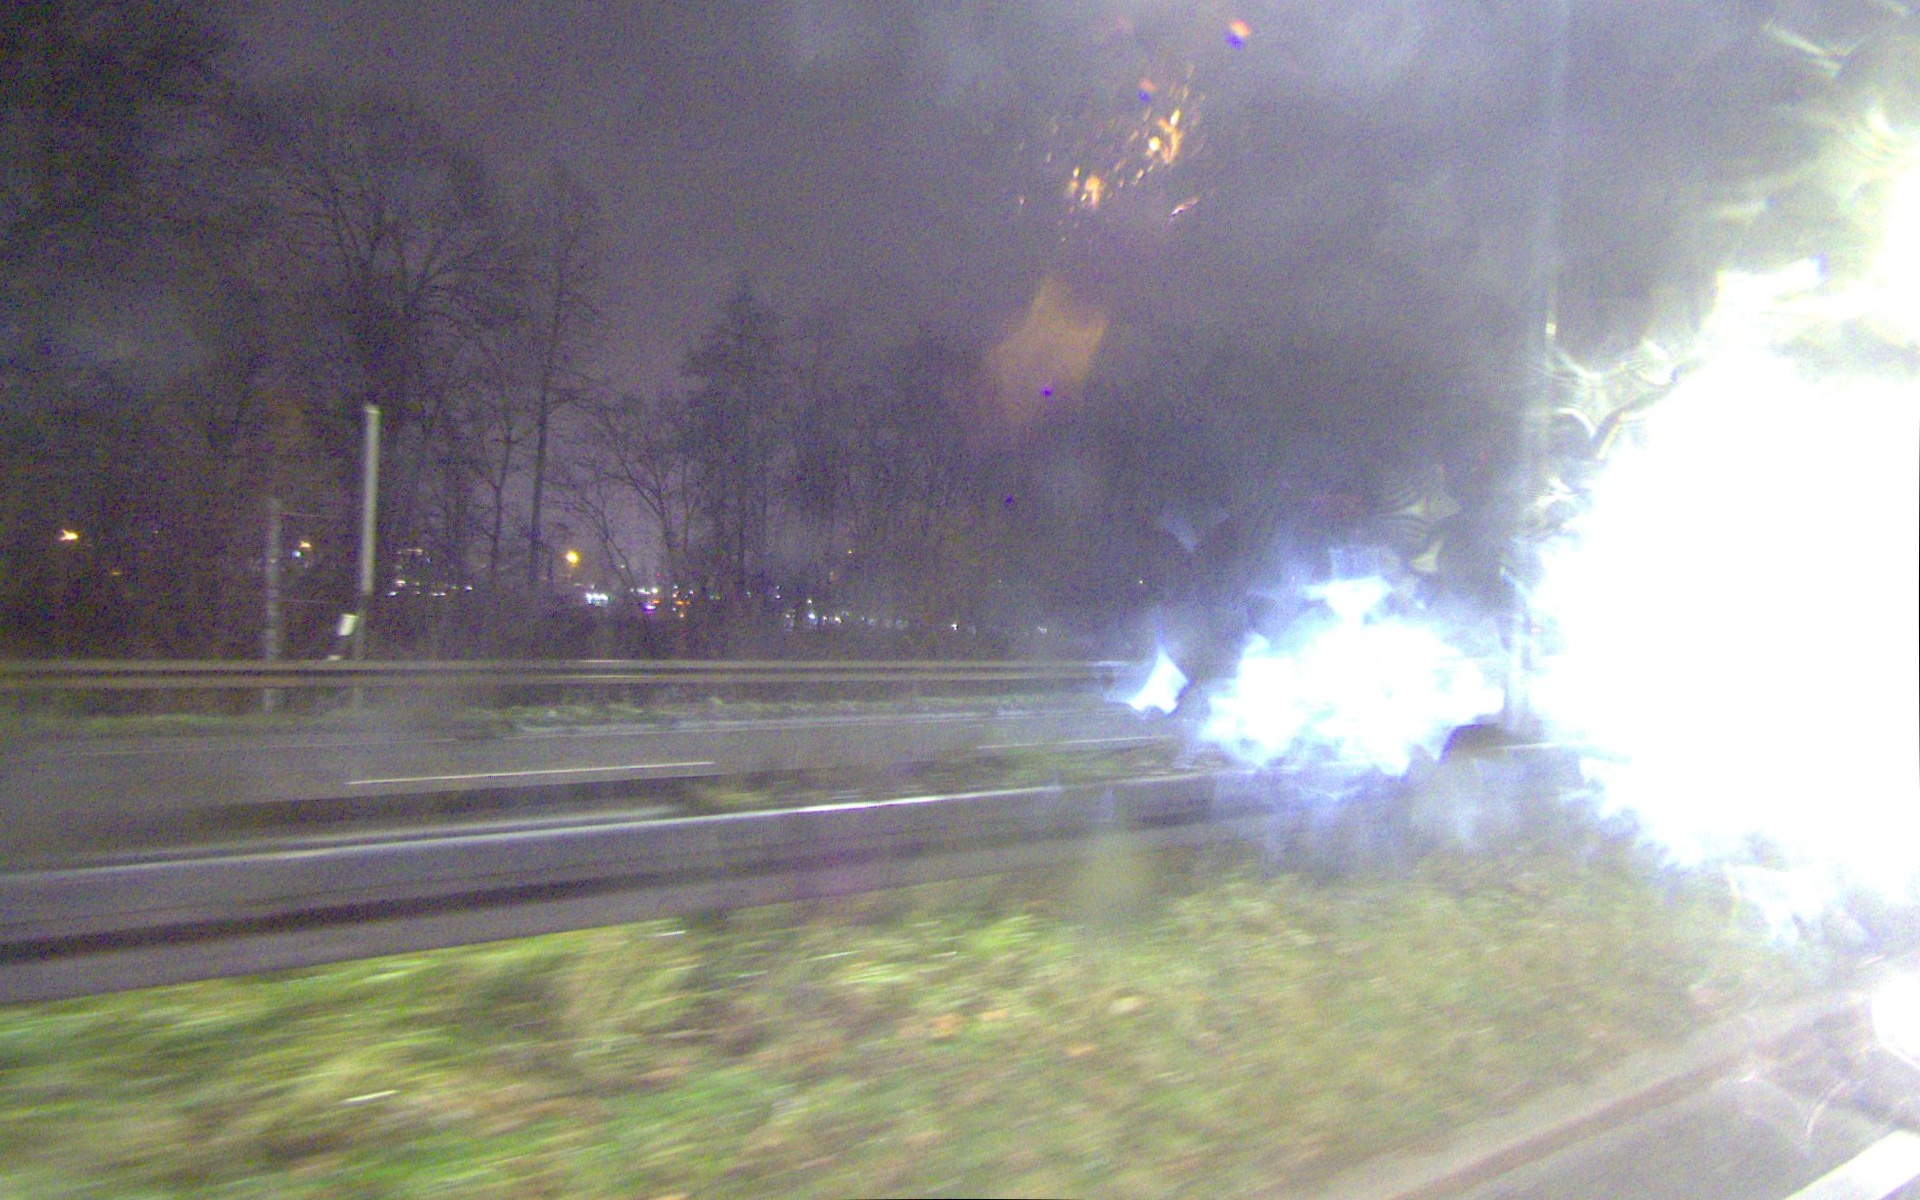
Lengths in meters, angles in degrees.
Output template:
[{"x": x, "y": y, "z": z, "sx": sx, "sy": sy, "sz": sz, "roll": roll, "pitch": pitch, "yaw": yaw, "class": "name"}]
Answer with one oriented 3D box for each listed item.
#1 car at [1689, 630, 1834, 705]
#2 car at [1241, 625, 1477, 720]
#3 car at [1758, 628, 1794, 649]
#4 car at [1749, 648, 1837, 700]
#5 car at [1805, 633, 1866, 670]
[{"x": 19.607, "y": 1.627, "z": 24.531, "sx": 4.211, "sy": 1.629, "sz": 1.855, "roll": 3, "pitch": -2, "yaw": -38, "class": "car"}, {"x": 7.163, "y": 1.241, "z": 17.819, "sx": 4.623, "sy": 1.442, "sz": 1.700, "roll": 3, "pitch": -1, "yaw": -36, "class": "car"}, {"x": 65.047, "y": 3.071, "z": 80.148, "sx": 1.716, "sy": 1.522, "sz": 3.991, "roll": 1, "pitch": -1, "yaw": 32, "class": "car"}, {"x": 29.864, "y": 2.603, "z": 35.975, "sx": 4.217, "sy": 1.653, "sz": 1.750, "roll": 2, "pitch": -1, "yaw": -41, "class": "car"}, {"x": 40.530, "y": 2.340, "z": 46.481, "sx": 3.483, "sy": 1.592, "sz": 1.830, "roll": 1, "pitch": -1, "yaw": -44, "class": "car"}]
